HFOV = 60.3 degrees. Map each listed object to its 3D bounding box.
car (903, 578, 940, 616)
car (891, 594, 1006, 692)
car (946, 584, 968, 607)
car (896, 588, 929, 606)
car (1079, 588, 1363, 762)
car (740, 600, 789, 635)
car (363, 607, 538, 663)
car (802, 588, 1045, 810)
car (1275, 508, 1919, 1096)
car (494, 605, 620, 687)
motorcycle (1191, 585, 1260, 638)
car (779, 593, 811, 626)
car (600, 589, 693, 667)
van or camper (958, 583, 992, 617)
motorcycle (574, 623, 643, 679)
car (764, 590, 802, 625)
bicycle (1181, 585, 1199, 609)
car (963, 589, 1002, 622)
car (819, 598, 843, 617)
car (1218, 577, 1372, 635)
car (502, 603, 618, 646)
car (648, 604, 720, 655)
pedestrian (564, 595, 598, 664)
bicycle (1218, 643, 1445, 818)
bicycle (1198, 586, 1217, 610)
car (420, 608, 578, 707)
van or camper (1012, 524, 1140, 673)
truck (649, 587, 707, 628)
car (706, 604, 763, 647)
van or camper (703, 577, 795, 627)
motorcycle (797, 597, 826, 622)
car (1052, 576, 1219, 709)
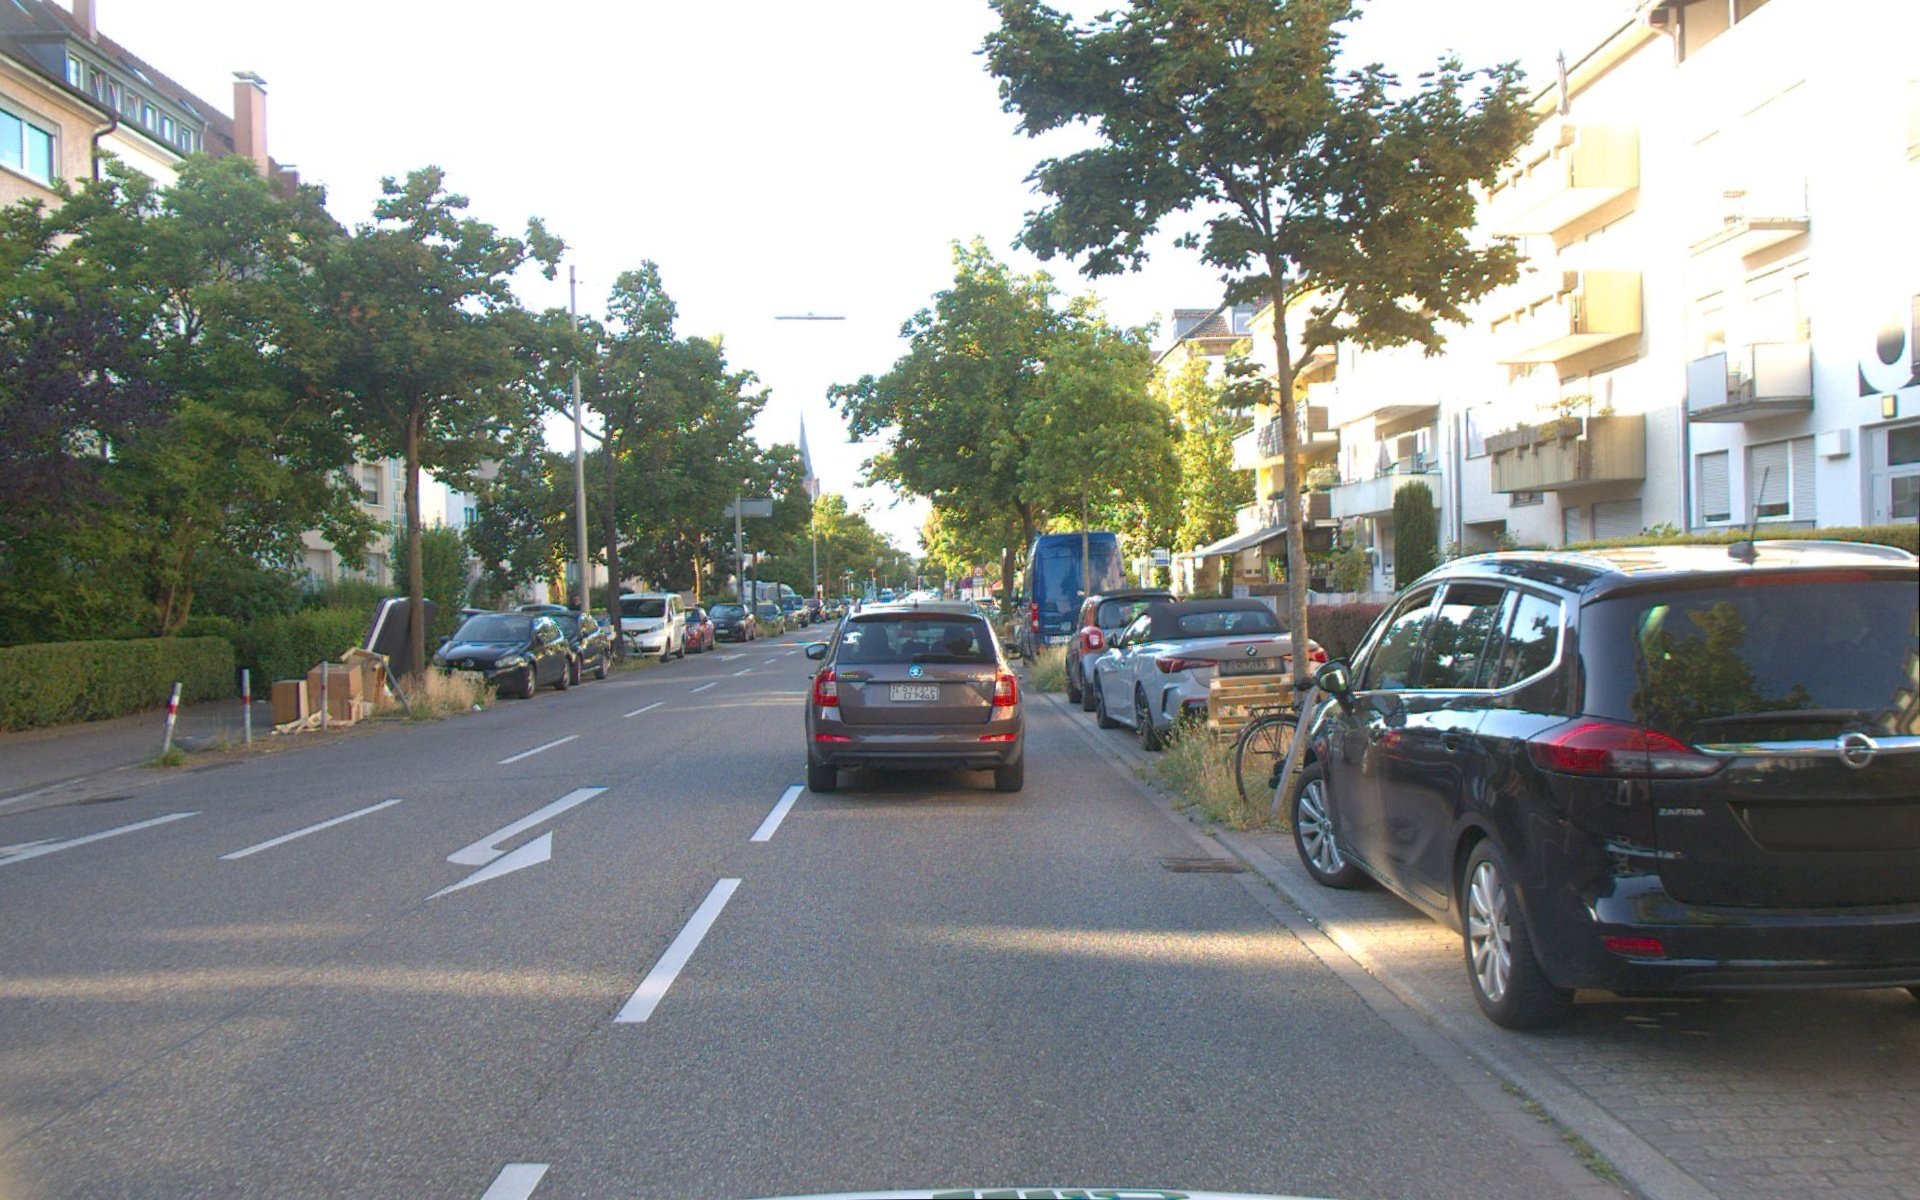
[{"bbox_3d":[-1.812,-0.154,78.164,1.697,1.680,3.541,-2,1,-1],"label":"car"},{"bbox_3d":[-0.272,0.700,29.186,1.696,1.520,3.947,-2,1,-5],"label":"car"},{"bbox_3d":[-0.266,-0.403,139.273,1.695,1.846,3.949,-2,1,-3],"label":"car"},{"bbox_3d":[-5.205,-0.336,180.478,1.839,1.788,4.175,-1,1,25],"label":"car"},{"bbox_3d":[2.570,0.662,17.502,1.882,1.512,4.742,-2,1,-5],"label":"car"},{"bbox_3d":[-8.975,0.799,76.108,1.718,1.445,4.425,-2,1,0],"label":"car"},{"bbox_3d":[-14.546,0.976,47.458,4.632,1.386,1.993,-2,1,-14],"label":"car"},{"bbox_3d":[-0.253,0.695,13.815,1.694,1.520,3.951,-2,1,0],"label":"car"},{"bbox_3d":[2.645,0.548,6.972,1.697,1.680,4.290,-2,1,-1],"label":"car"},{"bbox_3d":[-8.438,0.921,34.933,1.715,1.529,3.978,-2,1,-1],"label":"car"},{"bbox_3d":[8.651,0.381,53.953,2.148,1.649,0.731,-2,0,5],"label":"motorcycle"},{"bbox_3d":[-9.357,0.525,93.950,1.476,1.788,3.693,-2,1,-1],"label":"car"},{"bbox_3d":[-8.582,0.719,45.628,1.734,1.952,4.459,-2,1,-1],"label":"car"},{"bbox_3d":[0.929,-0.015,103.510,1.953,2.049,3.999,-2,1,-1],"label":"van or camper"},{"bbox_3d":[-8.166,1.178,38.489,0.432,1.212,1.701,-1,1,36],"label":"motorcycle"},{"bbox_3d":[-9.537,0.393,89.278,1.715,1.771,3.590,-2,1,-1],"label":"car"},{"bbox_3d":[9.655,-0.122,69.476,0.335,0.967,1.580,1,0,-7],"label":"bicycle"},{"bbox_3d":[1.064,0.242,79.440,1.783,1.437,4.112,-2,1,1],"label":"car"},{"bbox_3d":[-10.224,0.589,131.245,1.630,1.457,3.274,-2,1,-1],"label":"car"},{"bbox_3d":[9.496,0.144,47.025,3.909,1.487,1.823,-2,1,-5],"label":"car"},{"bbox_3d":[-14.880,0.897,61.645,3.909,1.505,1.998,-1,1,-5],"label":"car"},{"bbox_3d":[-8.763,0.920,52.702,1.682,1.445,3.786,-2,1,-1],"label":"car"},{"bbox_3d":[-11.495,0.879,50.205,0.752,2.049,0.975,-2,0,-2],"label":"pedestrian"},{"bbox_3d":[2.510,0.861,11.172,1.452,1.077,0.410,-2,1,-14],"label":"bicycle"},{"bbox_3d":[10.301,-0.064,68.891,0.335,0.967,1.580,-4,0,-7],"label":"bicycle"},{"bbox_3d":[-8.261,0.981,29.991,1.715,1.529,4.196,-2,1,-1],"label":"car"},{"bbox_3d":[2.265,-0.015,33.984,2.026,2.722,5.988,-2,0,-1],"label":"van or camper"},{"bbox_3d":[-15.422,0.411,90.583,2.855,2.130,1.545,-2,1,-2],"label":"truck"},{"bbox_3d":[-8.798,0.965,64.783,1.682,1.523,4.247,-2,1,-1],"label":"car"},{"bbox_3d":[-17.862,0.136,140.275,7.488,3.942,1.999,-2,0,-3],"label":"van or camper"},{"bbox_3d":[-9.370,0.613,104.311,0.761,1.538,1.998,-2,1,-43],"label":"motorcycle"},{"bbox_3d":[2.388,0.564,23.379,1.737,1.671,3.755,-2,0,-3],"label":"car"}]
